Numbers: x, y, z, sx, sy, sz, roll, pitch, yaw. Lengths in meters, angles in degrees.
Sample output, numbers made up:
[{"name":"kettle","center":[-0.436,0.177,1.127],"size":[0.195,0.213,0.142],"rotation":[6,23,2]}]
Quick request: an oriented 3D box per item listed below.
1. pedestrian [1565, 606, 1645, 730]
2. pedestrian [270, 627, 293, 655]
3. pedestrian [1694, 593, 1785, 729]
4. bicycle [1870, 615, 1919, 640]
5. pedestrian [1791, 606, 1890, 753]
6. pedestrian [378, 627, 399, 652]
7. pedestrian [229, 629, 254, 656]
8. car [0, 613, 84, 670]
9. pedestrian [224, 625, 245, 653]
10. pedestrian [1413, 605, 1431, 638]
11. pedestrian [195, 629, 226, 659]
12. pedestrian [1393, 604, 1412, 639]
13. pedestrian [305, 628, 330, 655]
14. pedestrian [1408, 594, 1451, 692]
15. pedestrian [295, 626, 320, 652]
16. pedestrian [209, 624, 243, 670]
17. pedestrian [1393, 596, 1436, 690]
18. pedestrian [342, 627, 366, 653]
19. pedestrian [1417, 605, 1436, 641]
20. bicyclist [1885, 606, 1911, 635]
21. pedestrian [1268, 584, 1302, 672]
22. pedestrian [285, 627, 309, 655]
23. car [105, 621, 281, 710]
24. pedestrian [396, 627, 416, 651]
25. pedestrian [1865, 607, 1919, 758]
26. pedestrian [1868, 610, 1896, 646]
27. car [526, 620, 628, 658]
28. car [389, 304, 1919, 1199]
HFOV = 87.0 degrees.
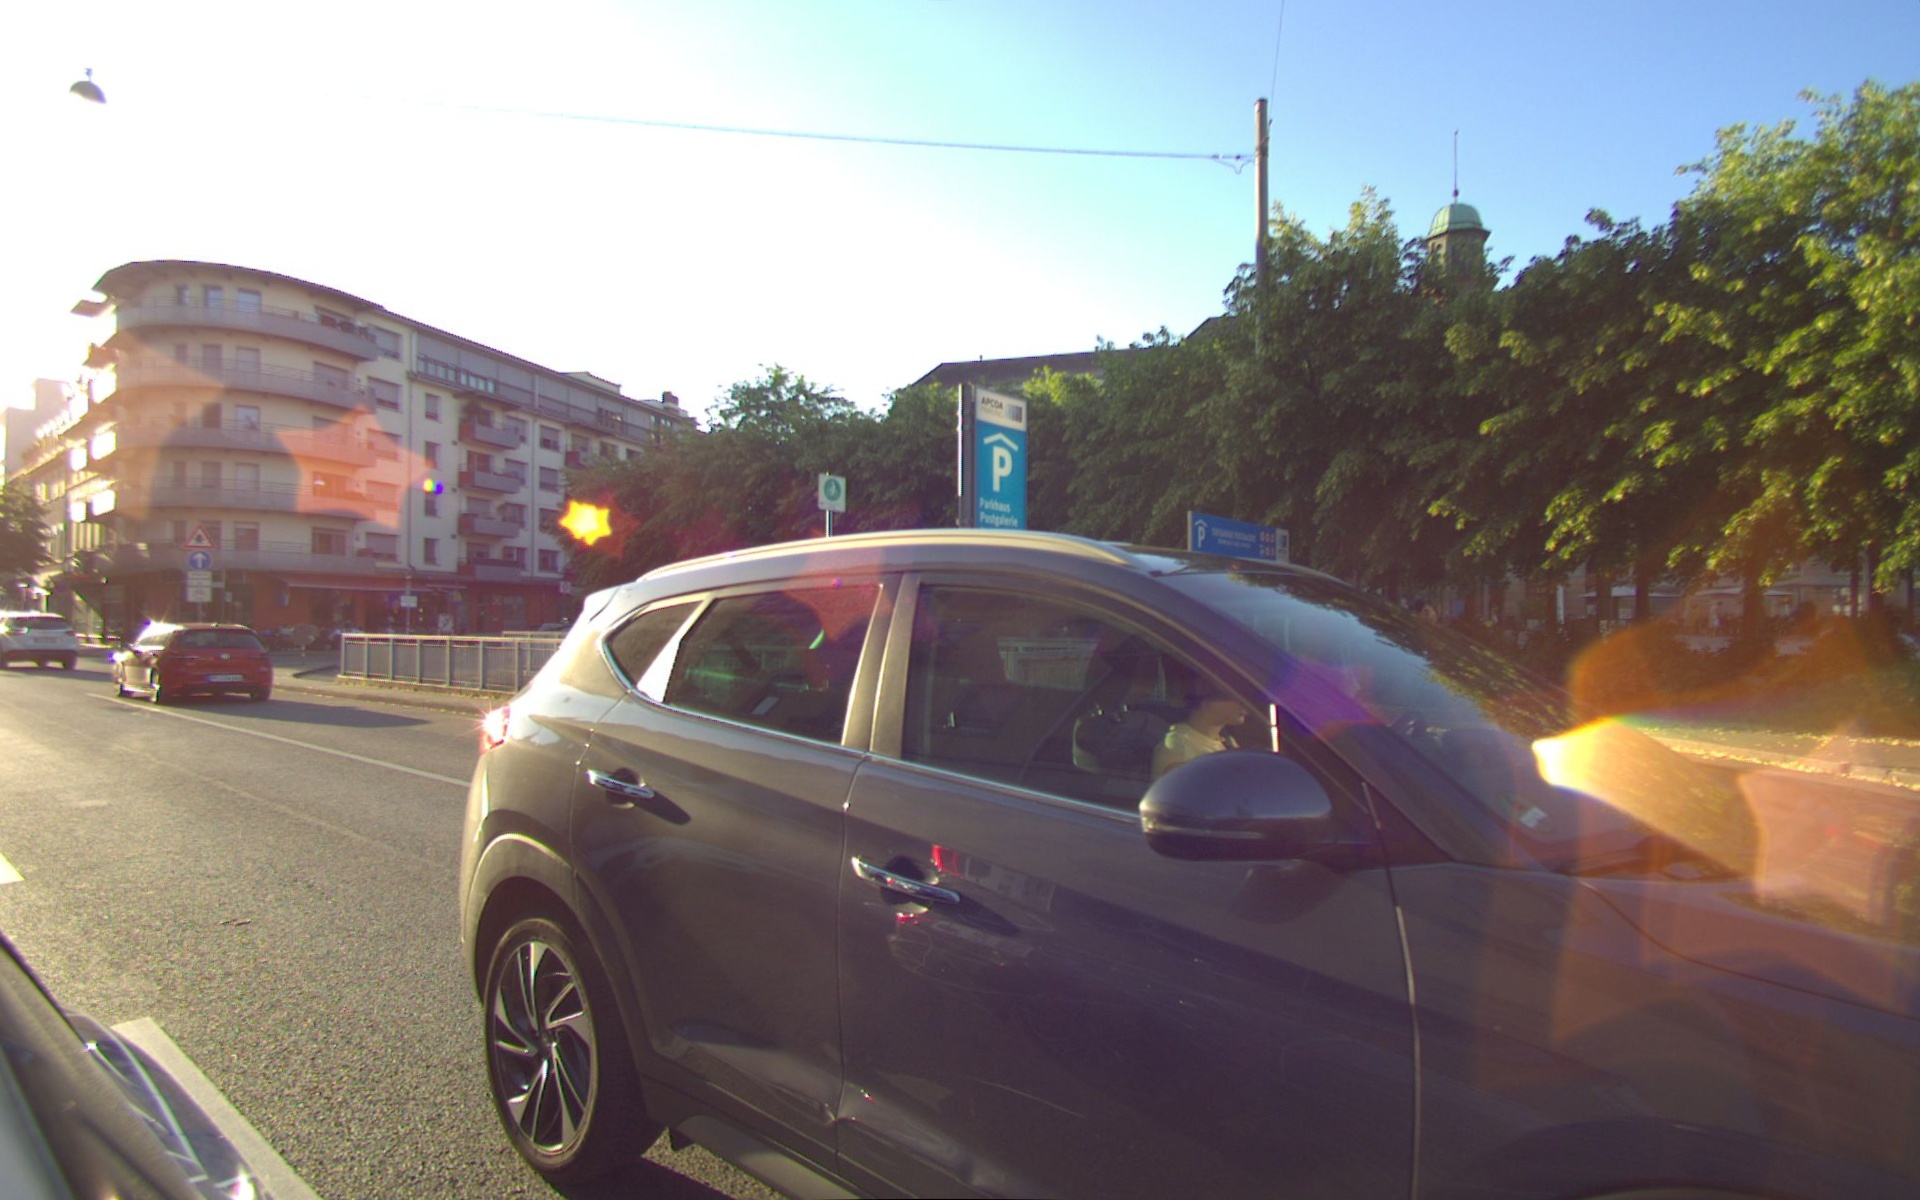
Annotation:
[{"name":"pedestrian","center":[10.947,1.124,17.188],"size":[0.890,2.029,0.742],"rotation":[0,-1,-22]},{"name":"pedestrian","center":[-32.858,1.973,49.002],"size":[0.888,1.332,0.723],"rotation":[-1,-1,40]},{"name":"pedestrian","center":[12.075,0.917,15.693],"size":[0.890,2.029,0.742],"rotation":[0,-1,-22]},{"name":"bicycle","center":[48.240,1.394,52.064],"size":[2.012,1.270,0.577],"rotation":[-1,0,17]},{"name":"pedestrian","center":[12.710,1.114,14.619],"size":[0.890,2.029,0.741],"rotation":[0,-1,-26]},{"name":"pedestrian","center":[-31.425,2.149,55.654],"size":[0.721,1.332,0.891],"rotation":[0,-1,-11]},{"name":"pedestrian","center":[-33.256,1.956,46.845],"size":[0.875,1.201,0.734],"rotation":[0,-1,-40]},{"name":"car","center":[-28.526,1.283,30.779],"size":[4.169,1.644,1.856],"rotation":[-2,-4,35]},{"name":"pedestrian","center":[-34.096,1.827,47.594],"size":[0.610,1.332,0.669],"rotation":[-1,-1,39]},{"name":"pedestrian","center":[19.556,0.904,42.843],"size":[0.651,1.386,0.515],"rotation":[-1,-1,26]},{"name":"pedestrian","center":[-33.961,1.970,45.883],"size":[0.726,1.332,0.885],"rotation":[-1,-1,13]},{"name":"pedestrian","center":[17.804,0.847,40.696],"size":[0.651,1.386,0.656],"rotation":[-1,-1,26]},{"name":"pedestrian","center":[-31.981,2.067,50.383],"size":[0.884,1.332,0.726],"rotation":[-1,-1,27]},{"name":"pedestrian","center":[9.936,0.894,21.403],"size":[0.736,2.029,0.897],"rotation":[-1,-1,29]},{"name":"pedestrian","center":[-32.971,1.970,51.151],"size":[0.814,1.332,0.684],"rotation":[-1,-1,17]},{"name":"pedestrian","center":[-24.892,1.572,34.322],"size":[0.668,1.529,0.677],"rotation":[-1,-1,-2]},{"name":"pedestrian","center":[10.042,0.940,22.392],"size":[0.733,2.029,0.901],"rotation":[-1,-1,17]},{"name":"pedestrian","center":[-31.453,2.090,52.543],"size":[0.884,1.332,0.727],"rotation":[-1,-1,26]},{"name":"pedestrian","center":[18.557,0.914,40.280],"size":[0.651,1.386,0.515],"rotation":[-1,-1,26]},{"name":"bicyclist","center":[48.257,1.053,52.054],"size":[0.764,1.459,0.637],"rotation":[-1,0,17]},{"name":"pedestrian","center":[7.642,0.650,23.827],"size":[0.733,2.029,0.901],"rotation":[-1,-1,17]},{"name":"pedestrian","center":[-32.499,2.016,49.588],"size":[0.887,1.332,0.723],"rotation":[-1,-1,38]},{"name":"car","center":[-14.575,1.159,19.172],"size":[3.953,1.477,1.768],"rotation":[0,-2,39]},{"name":"pedestrian","center":[-30.574,2.151,55.851],"size":[0.721,1.332,0.891],"rotation":[0,-1,-11]},{"name":"pedestrian","center":[13.262,1.110,14.001],"size":[0.890,2.029,0.742],"rotation":[0,-1,-22]},{"name":"pedestrian","center":[28.341,0.847,31.122],"size":[0.528,1.071,0.457],"rotation":[-3,-1,35]},{"name":"car","center":[-17.577,1.794,46.550],"size":[3.958,1.664,1.992],"rotation":[-1,-1,12]},{"name":"car","center":[0.593,0.623,2.346],"size":[4.445,1.702,1.854],"rotation":[-1,-2,39]}]
